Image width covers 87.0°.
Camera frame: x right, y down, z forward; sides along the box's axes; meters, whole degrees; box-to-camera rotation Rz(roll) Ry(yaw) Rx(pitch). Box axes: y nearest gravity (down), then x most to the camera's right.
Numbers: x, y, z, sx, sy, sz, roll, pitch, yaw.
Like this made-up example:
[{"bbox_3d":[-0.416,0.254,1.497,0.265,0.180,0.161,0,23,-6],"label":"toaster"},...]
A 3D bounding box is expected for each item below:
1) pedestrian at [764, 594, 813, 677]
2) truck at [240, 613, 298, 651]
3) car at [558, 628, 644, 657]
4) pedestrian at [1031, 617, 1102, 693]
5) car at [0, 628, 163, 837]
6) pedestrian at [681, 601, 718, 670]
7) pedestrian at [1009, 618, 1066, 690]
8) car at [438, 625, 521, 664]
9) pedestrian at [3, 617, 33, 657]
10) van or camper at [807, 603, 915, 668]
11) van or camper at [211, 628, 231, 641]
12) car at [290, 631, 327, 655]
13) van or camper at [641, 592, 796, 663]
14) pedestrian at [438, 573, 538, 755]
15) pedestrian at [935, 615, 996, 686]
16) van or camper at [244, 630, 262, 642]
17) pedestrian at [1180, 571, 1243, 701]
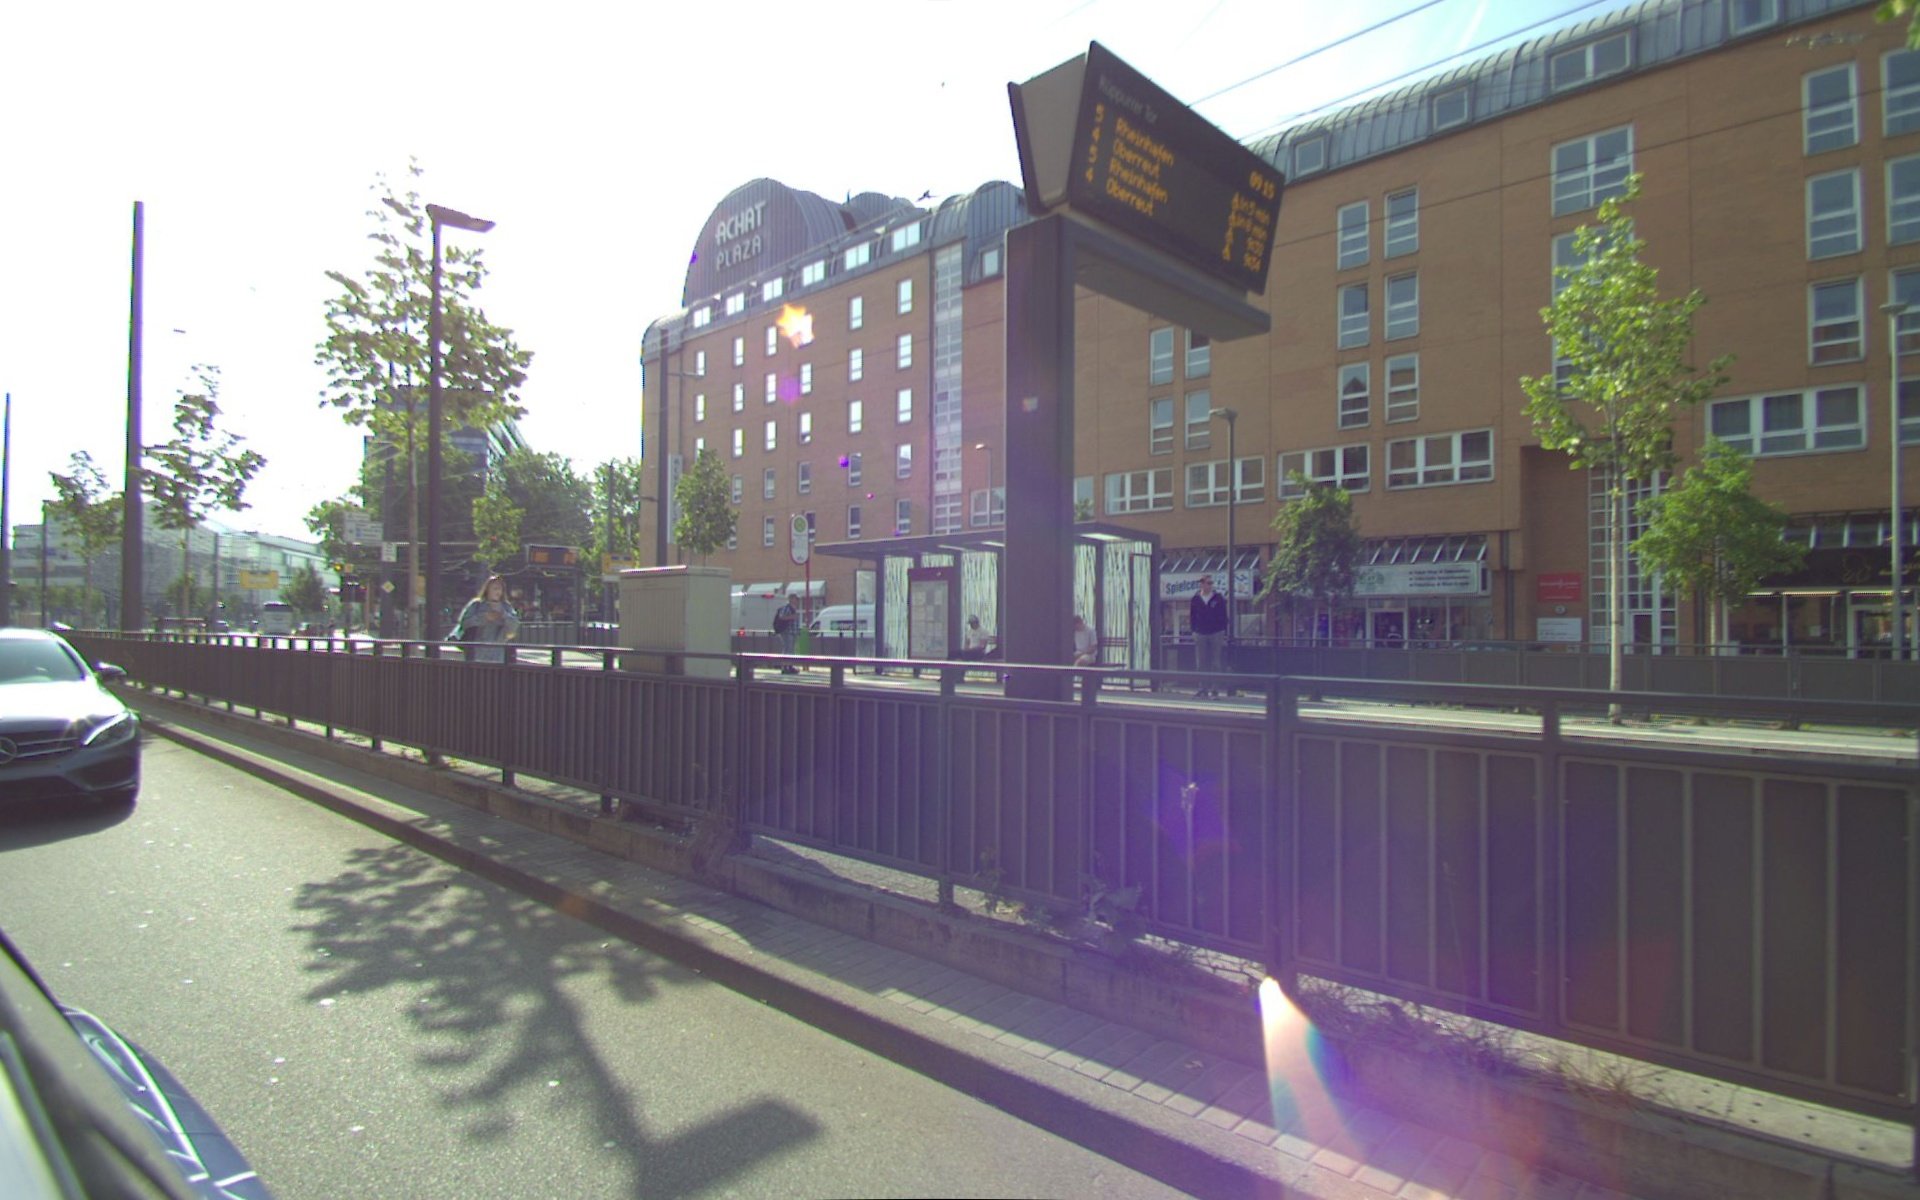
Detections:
[{"bbox_3d":[-3.713,0.778,21.980,0.825,1.760,0.783,1,-3,7],"label":"pedestrian"},{"bbox_3d":[-72.758,3.383,106.385,3.123,3.805,12.371,2,-3,-43],"label":"truck"},{"bbox_3d":[-12.995,1.517,36.565,3.488,0.978,1.528,-2,-3,44],"label":"car"},{"bbox_3d":[1.840,0.942,17.476,0.675,1.255,1.140,-2,-3,43],"label":"pedestrian"},{"bbox_3d":[-8.206,0.956,8.360,4.235,1.403,1.882,-1,-1,42],"label":"car"},{"bbox_3d":[-6.914,0.926,26.862,0.699,1.773,0.644,-1,0,45],"label":"pedestrian"},{"bbox_3d":[1.390,0.959,18.162,0.675,1.255,0.783,-2,-3,43],"label":"pedestrian"},{"bbox_3d":[-21.297,1.929,44.795,4.025,1.630,1.972,-1,-3,43],"label":"car"},{"bbox_3d":[-38.791,1.525,41.666,0.639,1.646,0.580,0,-2,9],"label":"pedestrian"},{"bbox_3d":[-4.619,1.624,46.565,5.354,2.823,1.971,-1,-3,44],"label":"van or camper"},{"bbox_3d":[-88.683,4.145,121.434,1.816,1.564,4.008,2,-3,-37],"label":"van or camper"},{"bbox_3d":[-56.690,3.705,88.038,1.970,2.029,4.003,2,-3,-44],"label":"car"},{"bbox_3d":[-7.560,0.875,31.352,5.342,2.029,2.059,-2,-3,43],"label":"van or camper"},{"bbox_3d":[-4.828,0.623,10.351,0.727,1.771,0.666,-1,0,43],"label":"pedestrian"},{"bbox_3d":[0.102,0.962,19.525,0.808,1.324,0.860,-1,-3,40],"label":"pedestrian"},{"bbox_3d":[-98.030,4.994,140.332,1.896,1.714,4.011,2,-2,-33],"label":"van or camper"},{"bbox_3d":[3.772,0.533,15.169,0.804,1.900,0.549,-1,-2,30],"label":"pedestrian"}]
